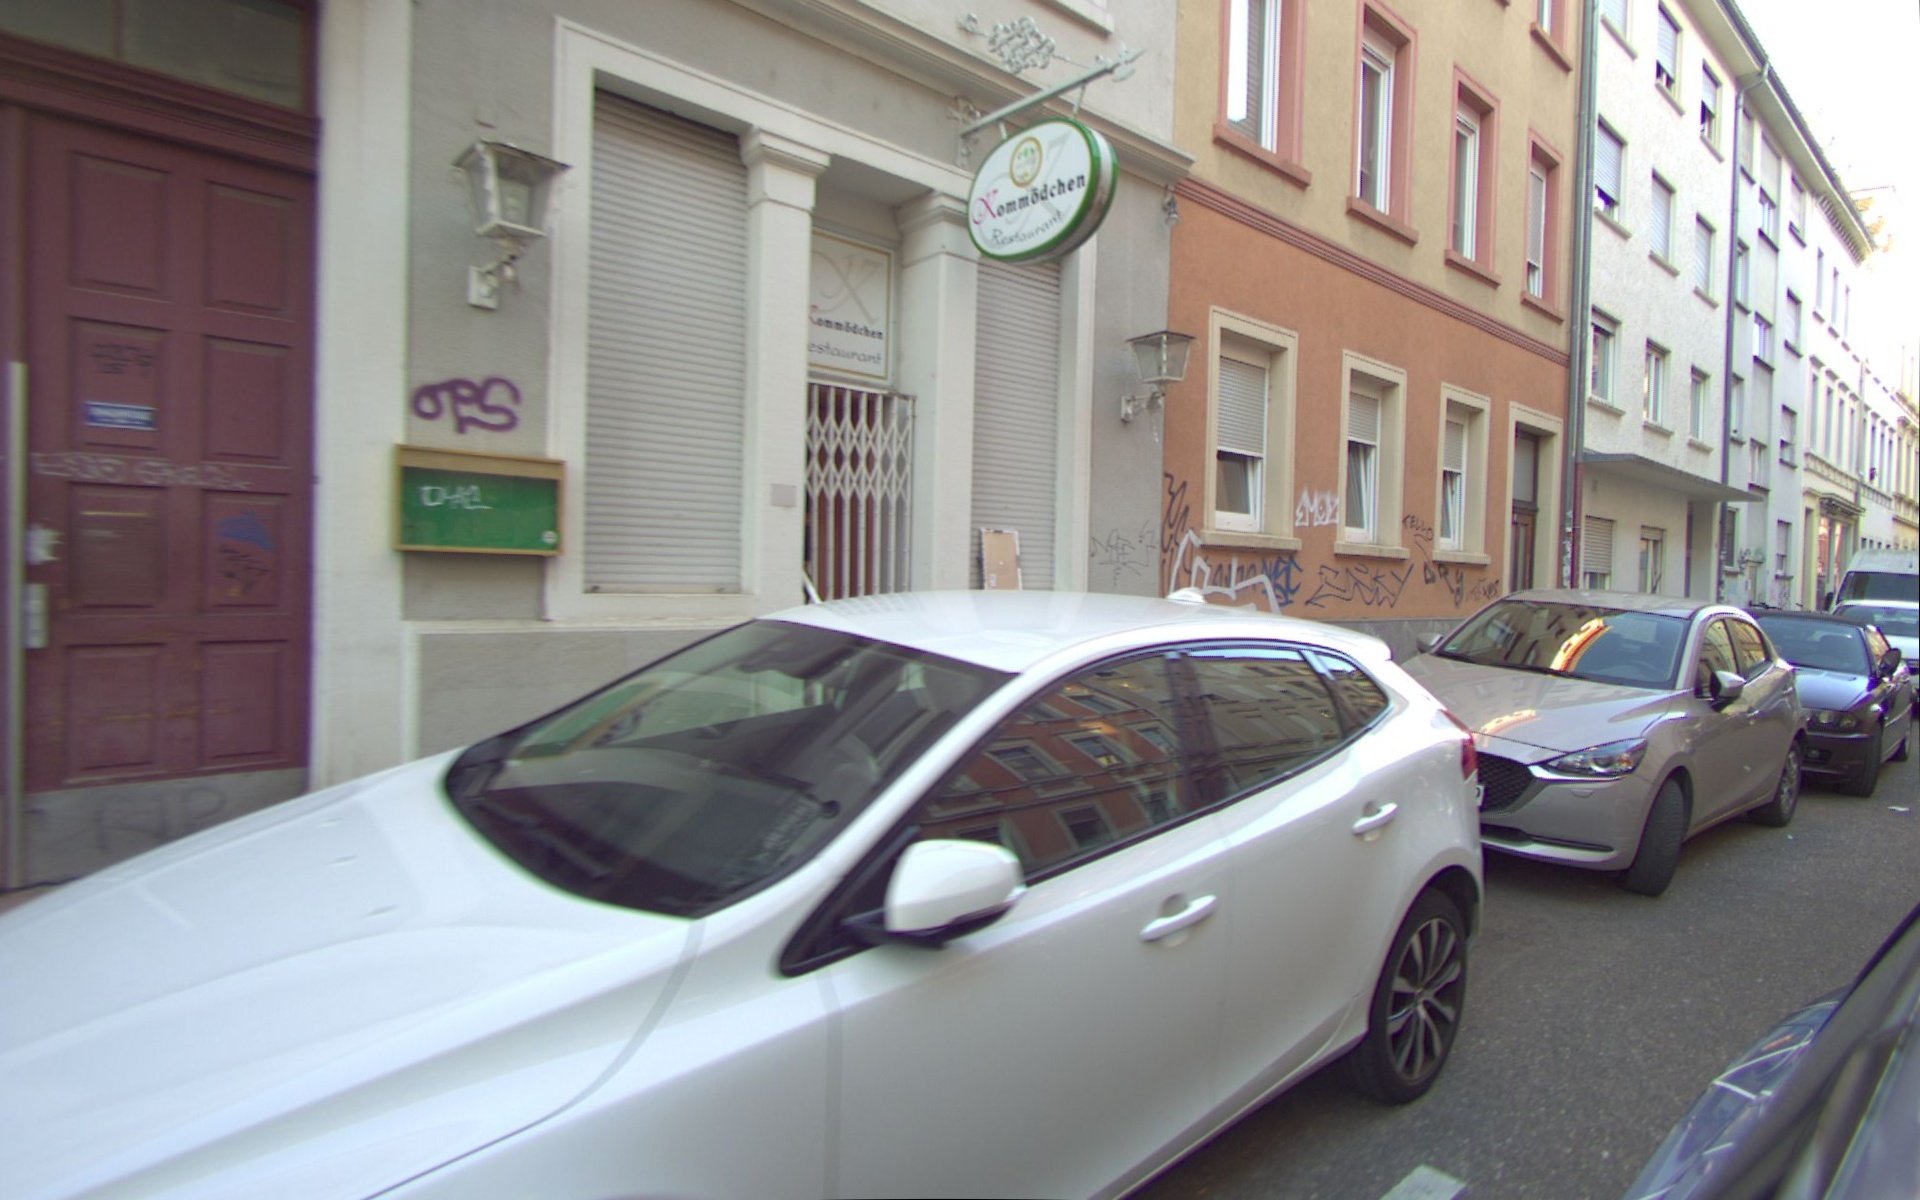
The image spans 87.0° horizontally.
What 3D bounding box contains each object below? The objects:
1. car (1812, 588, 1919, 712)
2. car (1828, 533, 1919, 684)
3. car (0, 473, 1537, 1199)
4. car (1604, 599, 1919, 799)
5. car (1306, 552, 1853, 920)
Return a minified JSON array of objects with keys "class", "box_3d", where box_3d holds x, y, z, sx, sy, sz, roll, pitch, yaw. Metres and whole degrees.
[{"class":"car","box_3d":[13.456,0.635,14.391,3.796,1.578,1.680,0,0,-44]},{"class":"car","box_3d":[18.359,0.138,19.049,5.914,2.544,2.050,0,0,-39]},{"class":"car","box_3d":[-0.148,0.643,2.652,4.118,1.529,1.681,0,0,-42]},{"class":"car","box_3d":[7.668,0.705,9.371,4.417,1.412,1.770,0,0,-42]},{"class":"car","box_3d":[4.101,0.590,6.414,4.114,1.617,1.683,0,0,-39]}]
